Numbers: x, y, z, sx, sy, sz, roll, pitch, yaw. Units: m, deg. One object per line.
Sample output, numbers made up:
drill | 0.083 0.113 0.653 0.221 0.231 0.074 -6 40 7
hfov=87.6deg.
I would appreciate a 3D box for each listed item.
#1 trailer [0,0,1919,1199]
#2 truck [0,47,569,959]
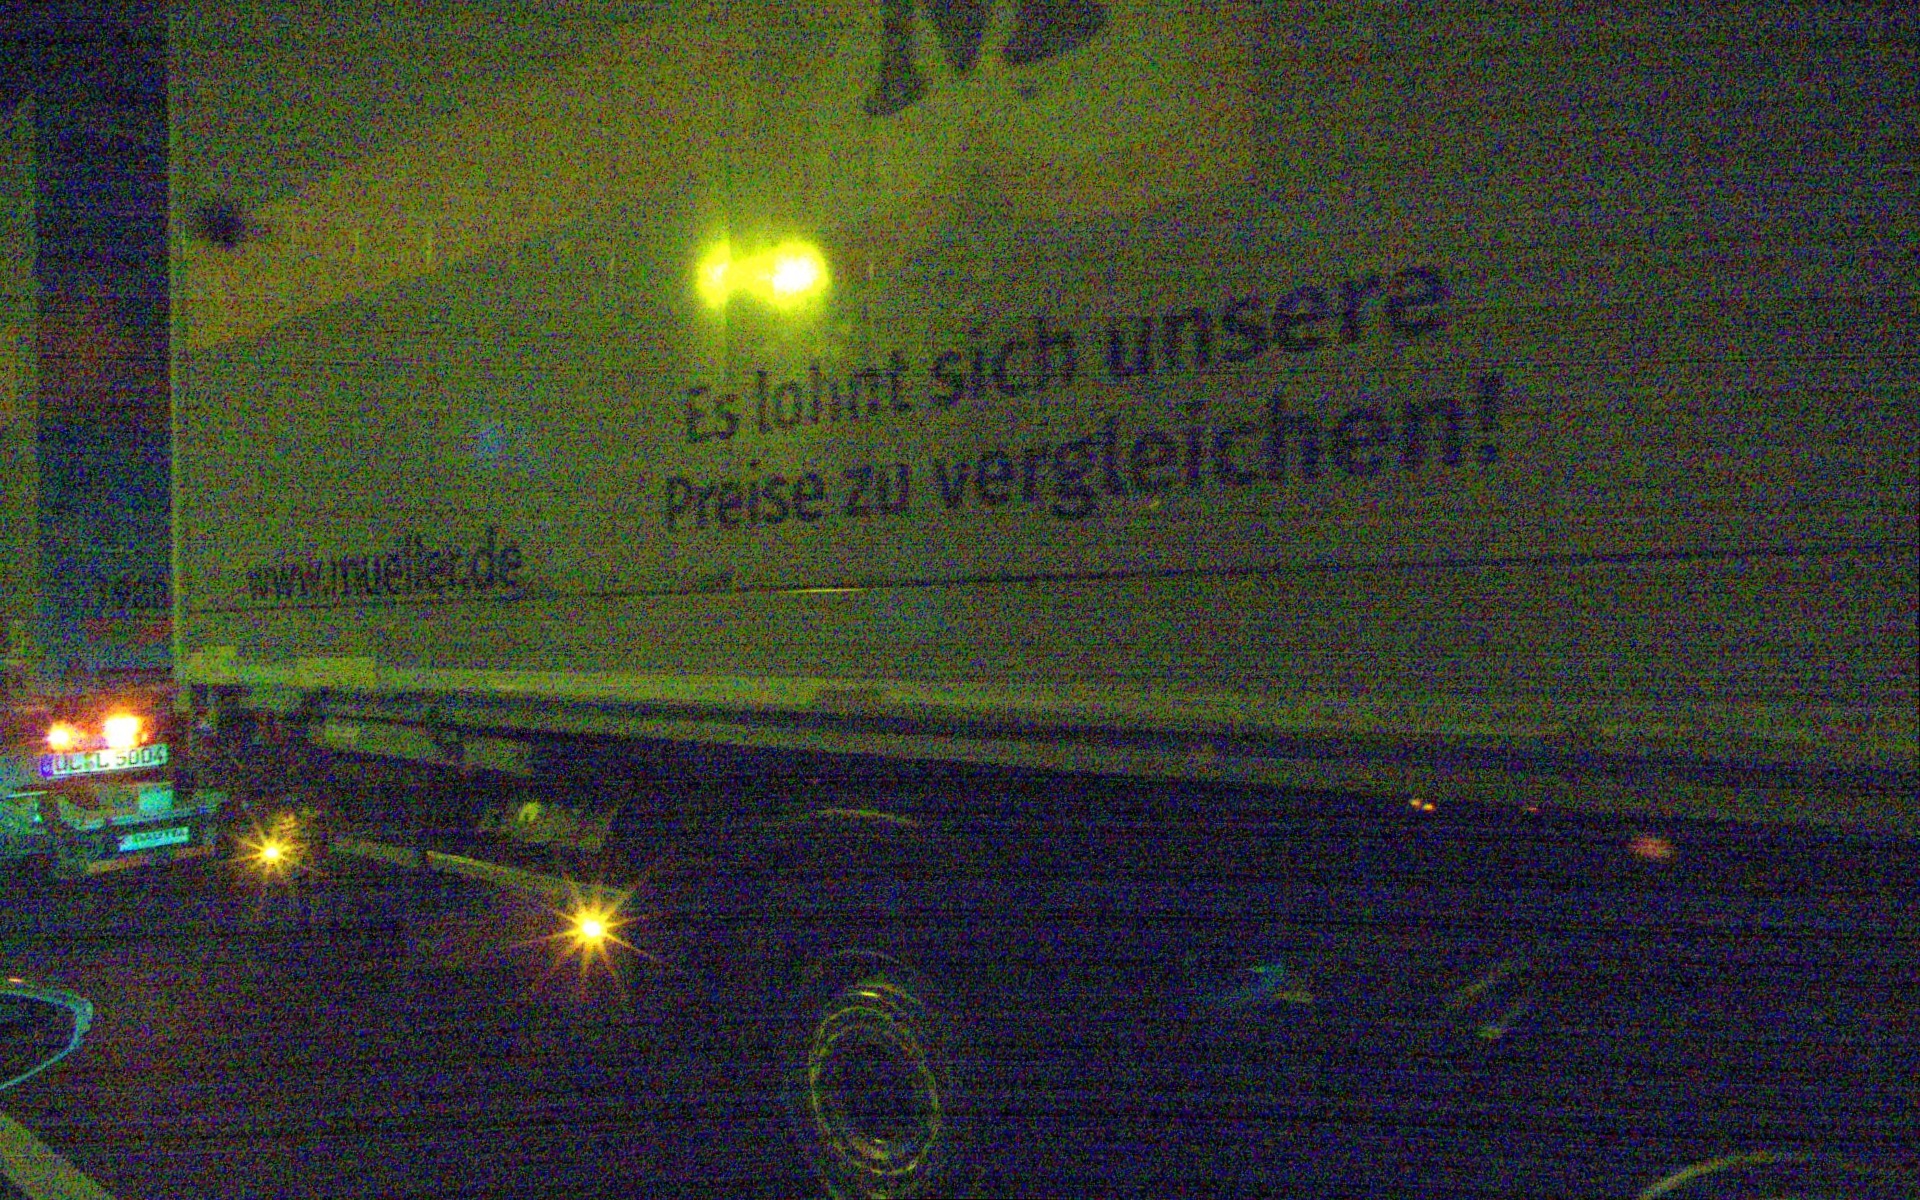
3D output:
trailer | 0.272 -0.454 3.156 8.821 3.907 2.870 -1 -2 33
truck | -7.535 -0.312 8.199 9.768 3.963 2.884 -1 -2 33
